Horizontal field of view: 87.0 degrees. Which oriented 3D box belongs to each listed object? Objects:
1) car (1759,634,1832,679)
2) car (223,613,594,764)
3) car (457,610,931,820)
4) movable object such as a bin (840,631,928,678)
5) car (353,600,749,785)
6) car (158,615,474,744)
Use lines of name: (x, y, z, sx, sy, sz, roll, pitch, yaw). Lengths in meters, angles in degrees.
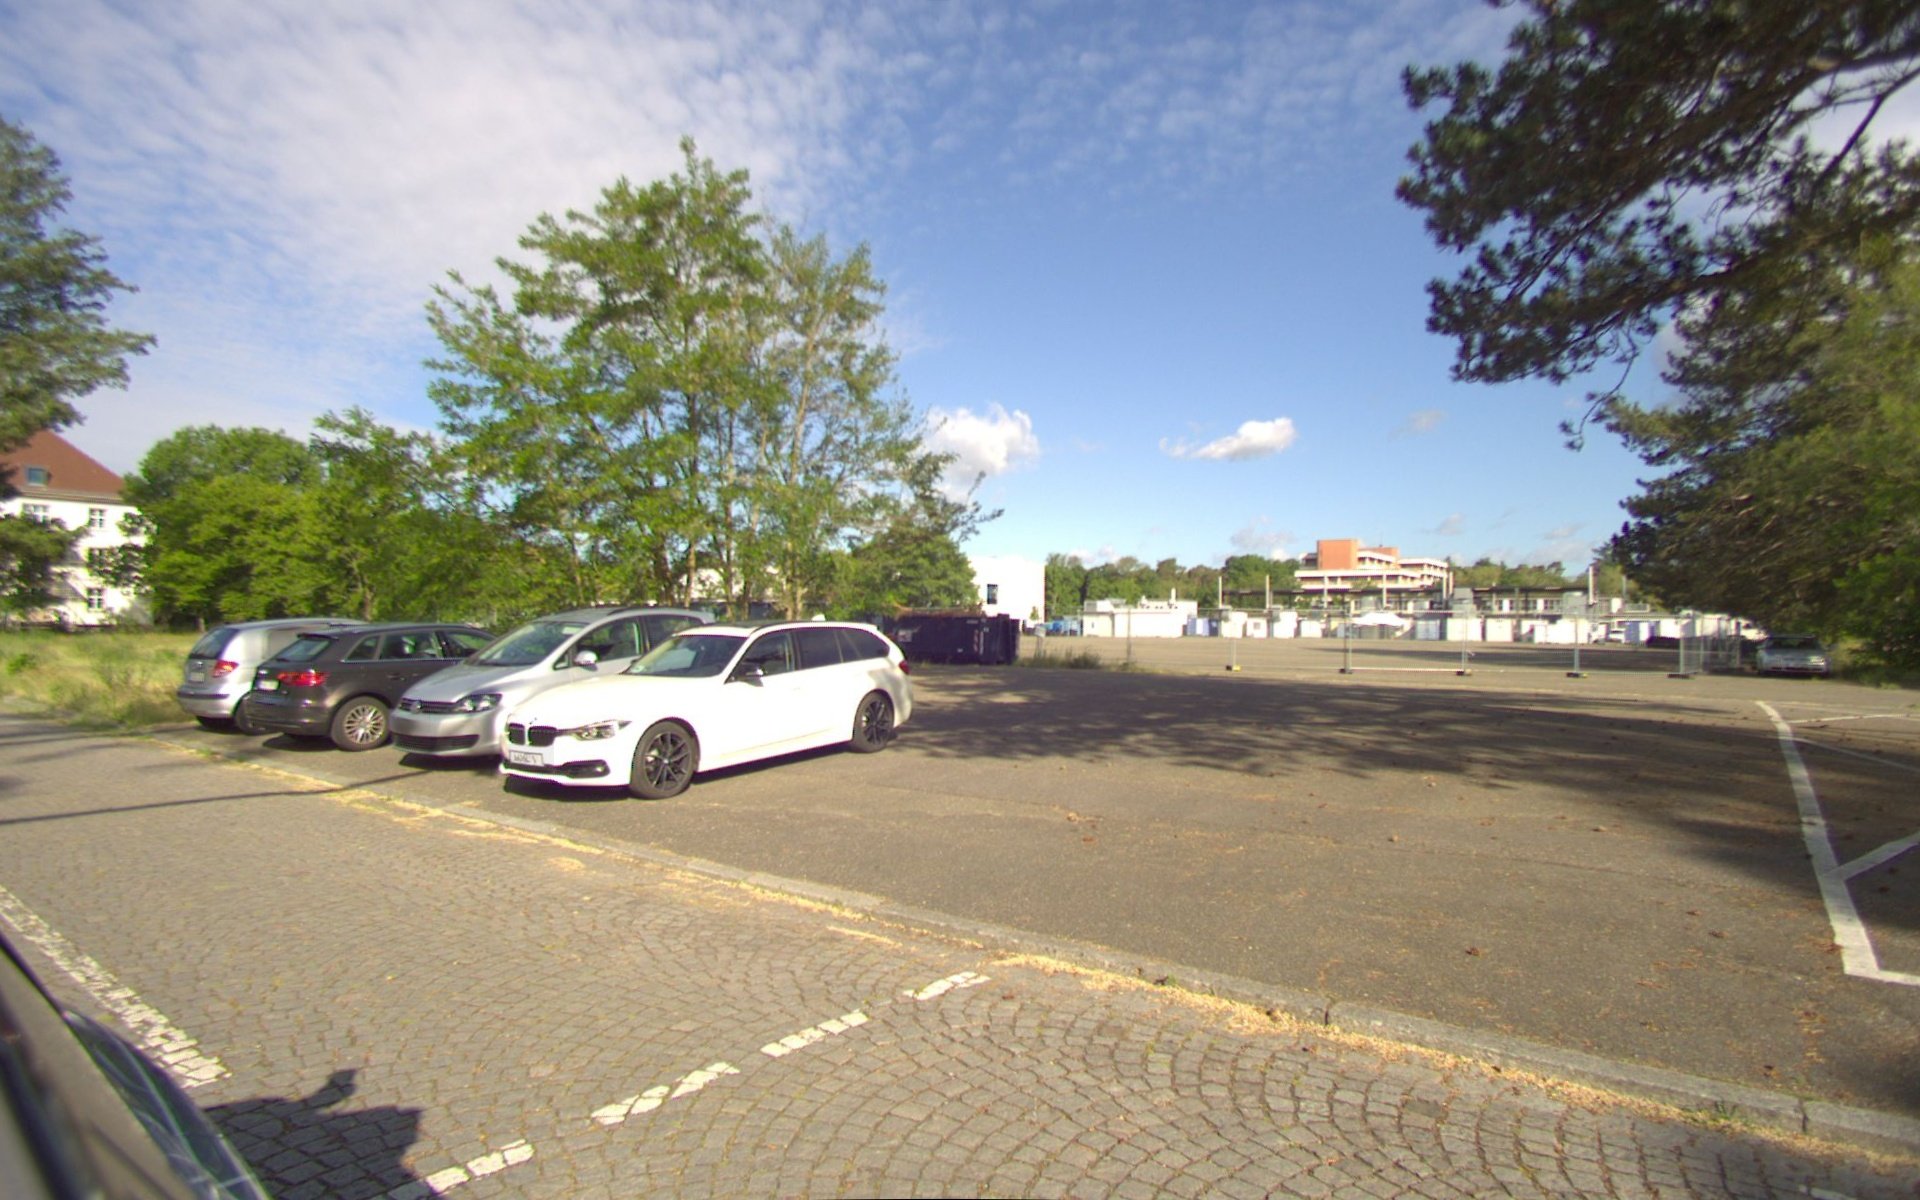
car: (27.530, 1.824, 33.380, 1.746, 1.381, 3.574, -1, -2, 39)
car: (-6.817, 0.974, 12.845, 1.685, 1.482, 3.762, -1, 1, 37)
car: (-2.337, 0.911, 10.086, 1.748, 1.478, 4.502, -1, 0, 35)
movable object such as a bin: (-1.884, 1.342, 25.525, 0.996, 1.116, 2.258, -1, -2, 36)
car: (-4.439, 0.872, 11.560, 1.717, 1.638, 3.912, -1, 1, 33)
car: (-9.031, 1.016, 14.428, 1.633, 1.482, 3.435, -1, 1, 35)
